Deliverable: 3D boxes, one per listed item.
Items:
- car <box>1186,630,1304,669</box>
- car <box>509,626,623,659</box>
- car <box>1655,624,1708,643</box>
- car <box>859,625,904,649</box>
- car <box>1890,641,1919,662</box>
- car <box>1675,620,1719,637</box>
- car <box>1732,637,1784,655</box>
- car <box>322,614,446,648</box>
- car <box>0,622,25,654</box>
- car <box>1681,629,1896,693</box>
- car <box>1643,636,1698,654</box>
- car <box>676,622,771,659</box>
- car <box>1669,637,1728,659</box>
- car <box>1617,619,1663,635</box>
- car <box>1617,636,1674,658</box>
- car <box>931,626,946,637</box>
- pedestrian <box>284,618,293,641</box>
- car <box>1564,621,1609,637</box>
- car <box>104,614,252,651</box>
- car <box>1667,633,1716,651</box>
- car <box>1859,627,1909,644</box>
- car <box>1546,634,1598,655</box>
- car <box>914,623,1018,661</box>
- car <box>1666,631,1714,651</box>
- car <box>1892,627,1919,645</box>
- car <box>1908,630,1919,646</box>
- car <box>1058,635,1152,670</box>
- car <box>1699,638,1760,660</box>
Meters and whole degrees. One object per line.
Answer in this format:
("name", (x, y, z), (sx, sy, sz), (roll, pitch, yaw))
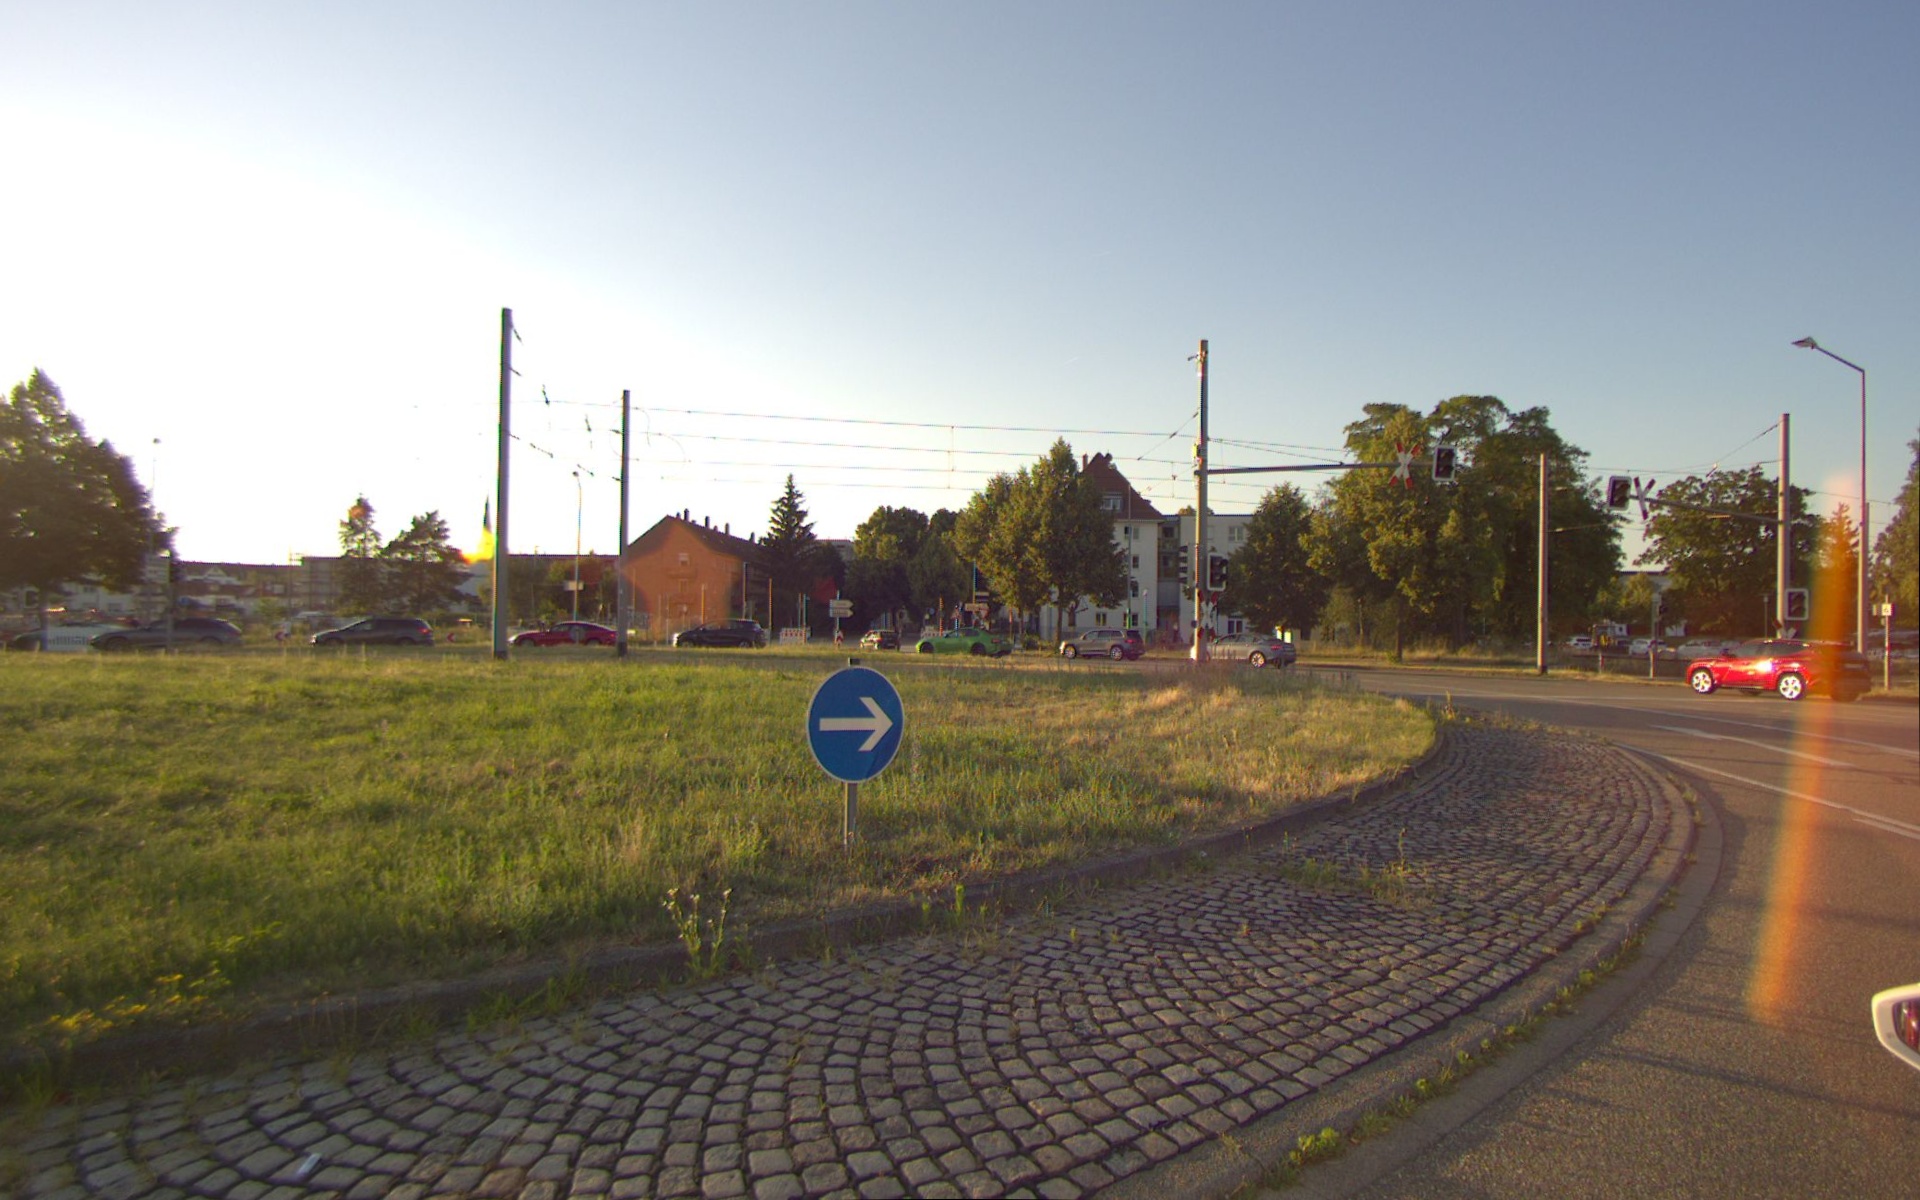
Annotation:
("car", (12.025, 2.075, 42.644), (1.871, 1.483, 4.617), (1, -1, -39))
("car", (-17.542, 1.891, 44.910), (4.416, 1.410, 1.893), (1, -1, -10))
("car", (80.231, 3.671, 111.726), (4.507, 2.040, 2.000), (1, -1, 0))
("car", (-5.242, 2.477, 66.766), (1.671, 1.371, 3.978), (-6, 0, -24))
("car", (76.352, 4.107, 79.460), (1.960, 1.625, 4.002), (1, -1, 3))
("car", (93.207, 3.618, 127.016), (4.033, 2.040, 2.001), (1, -1, 4))
("car", (77.347, 4.441, 97.400), (3.938, 1.684, 1.894), (0, -1, 39))
("car", (-24.304, 1.323, 42.563), (4.323, 1.394, 1.989), (1, -1, -24))
("car", (-47.481, 1.816, 48.325), (3.422, 1.519, 1.643), (1, -1, -1))
("car", (22.901, 1.644, 28.016), (1.964, 1.594, 4.407), (1, -1, -11))
("car", (69.211, 4.352, 97.918), (3.919, 1.684, 1.904), (1, -1, 5))
("car", (-10.728, 1.824, 45.772), (3.923, 1.605, 1.895), (1, -1, -3))
("car", (59.515, 3.868, 81.025), (1.960, 1.625, 4.002), (1, -1, 3))
("car", (86.257, 3.411, 127.425), (4.505, 2.040, 2.001), (1, -1, 5))
("car", (54.756, 3.720, 80.324), (1.960, 1.625, 4.002), (1, -1, 3))
("car", (-3.284, 4.888, 155.337), (1.960, 1.618, 4.002), (1, -1, 5))
("pedestrian", (-39.480, 1.747, 59.090), (0.392, 1.325, 0.426), (1, -1, -30))
("car", (79.582, 3.680, 127.609), (4.507, 2.040, 2.000), (1, -1, 0))
("car", (-30.668, 1.264, 39.562), (4.299, 1.394, 1.985), (1, -1, -29))
("car", (73.162, 4.211, 100.562), (3.934, 1.684, 1.994), (0, -1, 35))
("car", (108.034, 4.156, 117.432), (3.919, 1.840, 2.001), (1, -1, 5))
("car", (49.414, 3.563, 81.217), (1.960, 1.625, 4.002), (1, -1, 3))
("car", (0.266, 1.898, 46.297), (4.407, 1.600, 1.995), (0, -1, 32))
("car", (75.883, 4.257, 104.486), (3.934, 2.040, 1.994), (0, -1, 35))
("car", (107.454, 4.055, 112.580), (3.919, 2.040, 2.001), (1, -1, 11))
("car", (105.586, 4.138, 108.703), (1.971, 1.728, 3.979), (1, -1, -22))
("car", (7.534, 2.699, 52.390), (4.451, 1.659, 1.993), (0, -1, 36))
("car", (61.634, 3.930, 80.547), (1.960, 1.625, 4.002), (1, -1, 3))
